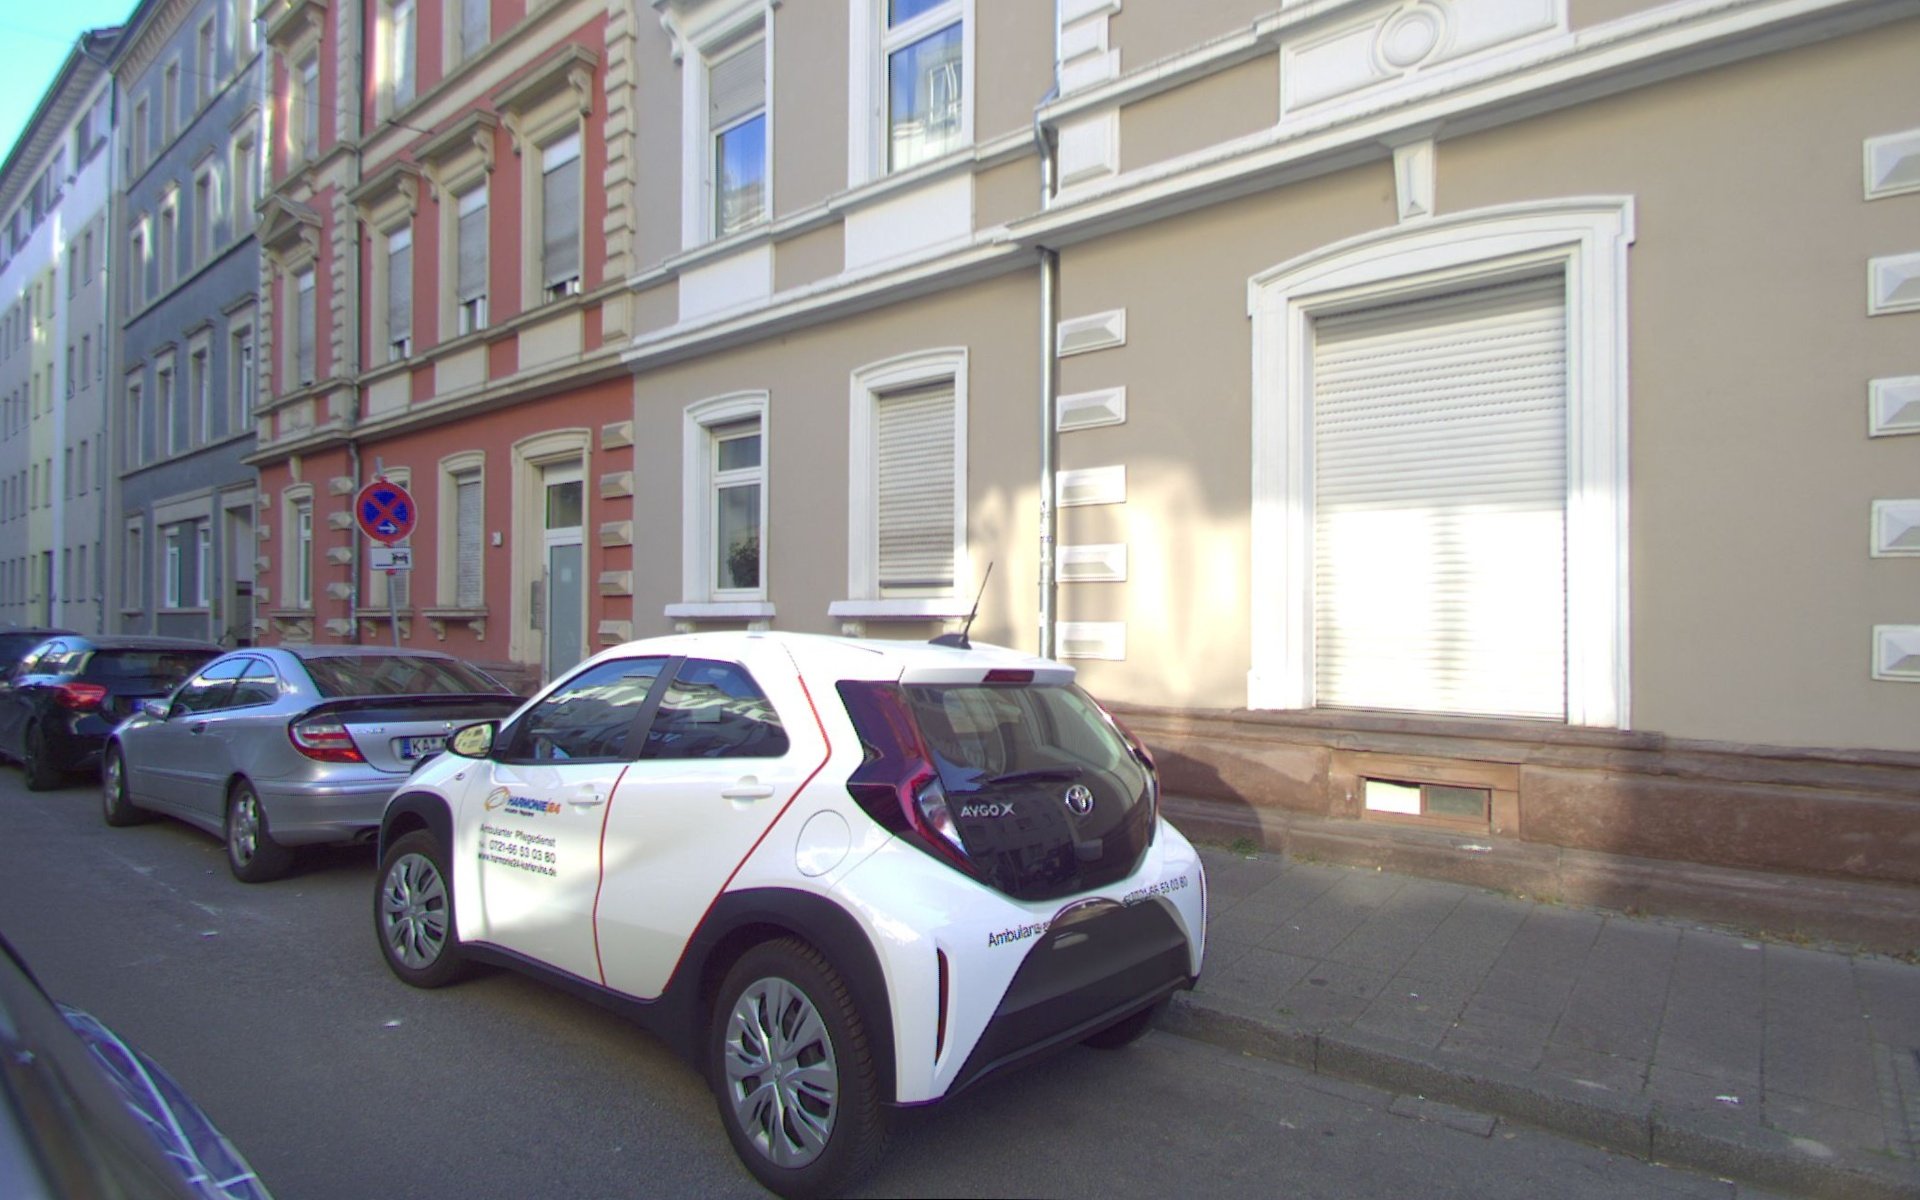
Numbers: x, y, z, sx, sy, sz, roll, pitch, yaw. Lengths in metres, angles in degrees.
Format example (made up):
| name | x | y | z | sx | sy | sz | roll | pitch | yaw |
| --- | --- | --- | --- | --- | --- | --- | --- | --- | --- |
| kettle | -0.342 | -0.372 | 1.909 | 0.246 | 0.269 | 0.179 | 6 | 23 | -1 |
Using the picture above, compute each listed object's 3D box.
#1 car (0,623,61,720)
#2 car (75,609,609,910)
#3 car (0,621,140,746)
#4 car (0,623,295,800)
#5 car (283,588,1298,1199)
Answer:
| name | x | y | z | sx | sy | sz | roll | pitch | yaw |
| --- | --- | --- | --- | --- | --- | --- | --- | --- | --- |
| car | -17.326 | 1.186 | 17.462 | 4.261 | 1.572 | 1.902 | -2 | -4 | 38 |
| car | -4.656 | 0.933 | 7.406 | 4.261 | 1.572 | 1.902 | -2 | -4 | 38 |
| car | -13.554 | 1.128 | 14.471 | 4.234 | 1.572 | 1.883 | -2 | -4 | 38 |
| car | -8.942 | 1.042 | 10.682 | 4.261 | 1.495 | 1.902 | -2 | -4 | 38 |
| car | -1.021 | 0.834 | 4.275 | 4.263 | 1.519 | 1.901 | -2 | -4 | 40 |
